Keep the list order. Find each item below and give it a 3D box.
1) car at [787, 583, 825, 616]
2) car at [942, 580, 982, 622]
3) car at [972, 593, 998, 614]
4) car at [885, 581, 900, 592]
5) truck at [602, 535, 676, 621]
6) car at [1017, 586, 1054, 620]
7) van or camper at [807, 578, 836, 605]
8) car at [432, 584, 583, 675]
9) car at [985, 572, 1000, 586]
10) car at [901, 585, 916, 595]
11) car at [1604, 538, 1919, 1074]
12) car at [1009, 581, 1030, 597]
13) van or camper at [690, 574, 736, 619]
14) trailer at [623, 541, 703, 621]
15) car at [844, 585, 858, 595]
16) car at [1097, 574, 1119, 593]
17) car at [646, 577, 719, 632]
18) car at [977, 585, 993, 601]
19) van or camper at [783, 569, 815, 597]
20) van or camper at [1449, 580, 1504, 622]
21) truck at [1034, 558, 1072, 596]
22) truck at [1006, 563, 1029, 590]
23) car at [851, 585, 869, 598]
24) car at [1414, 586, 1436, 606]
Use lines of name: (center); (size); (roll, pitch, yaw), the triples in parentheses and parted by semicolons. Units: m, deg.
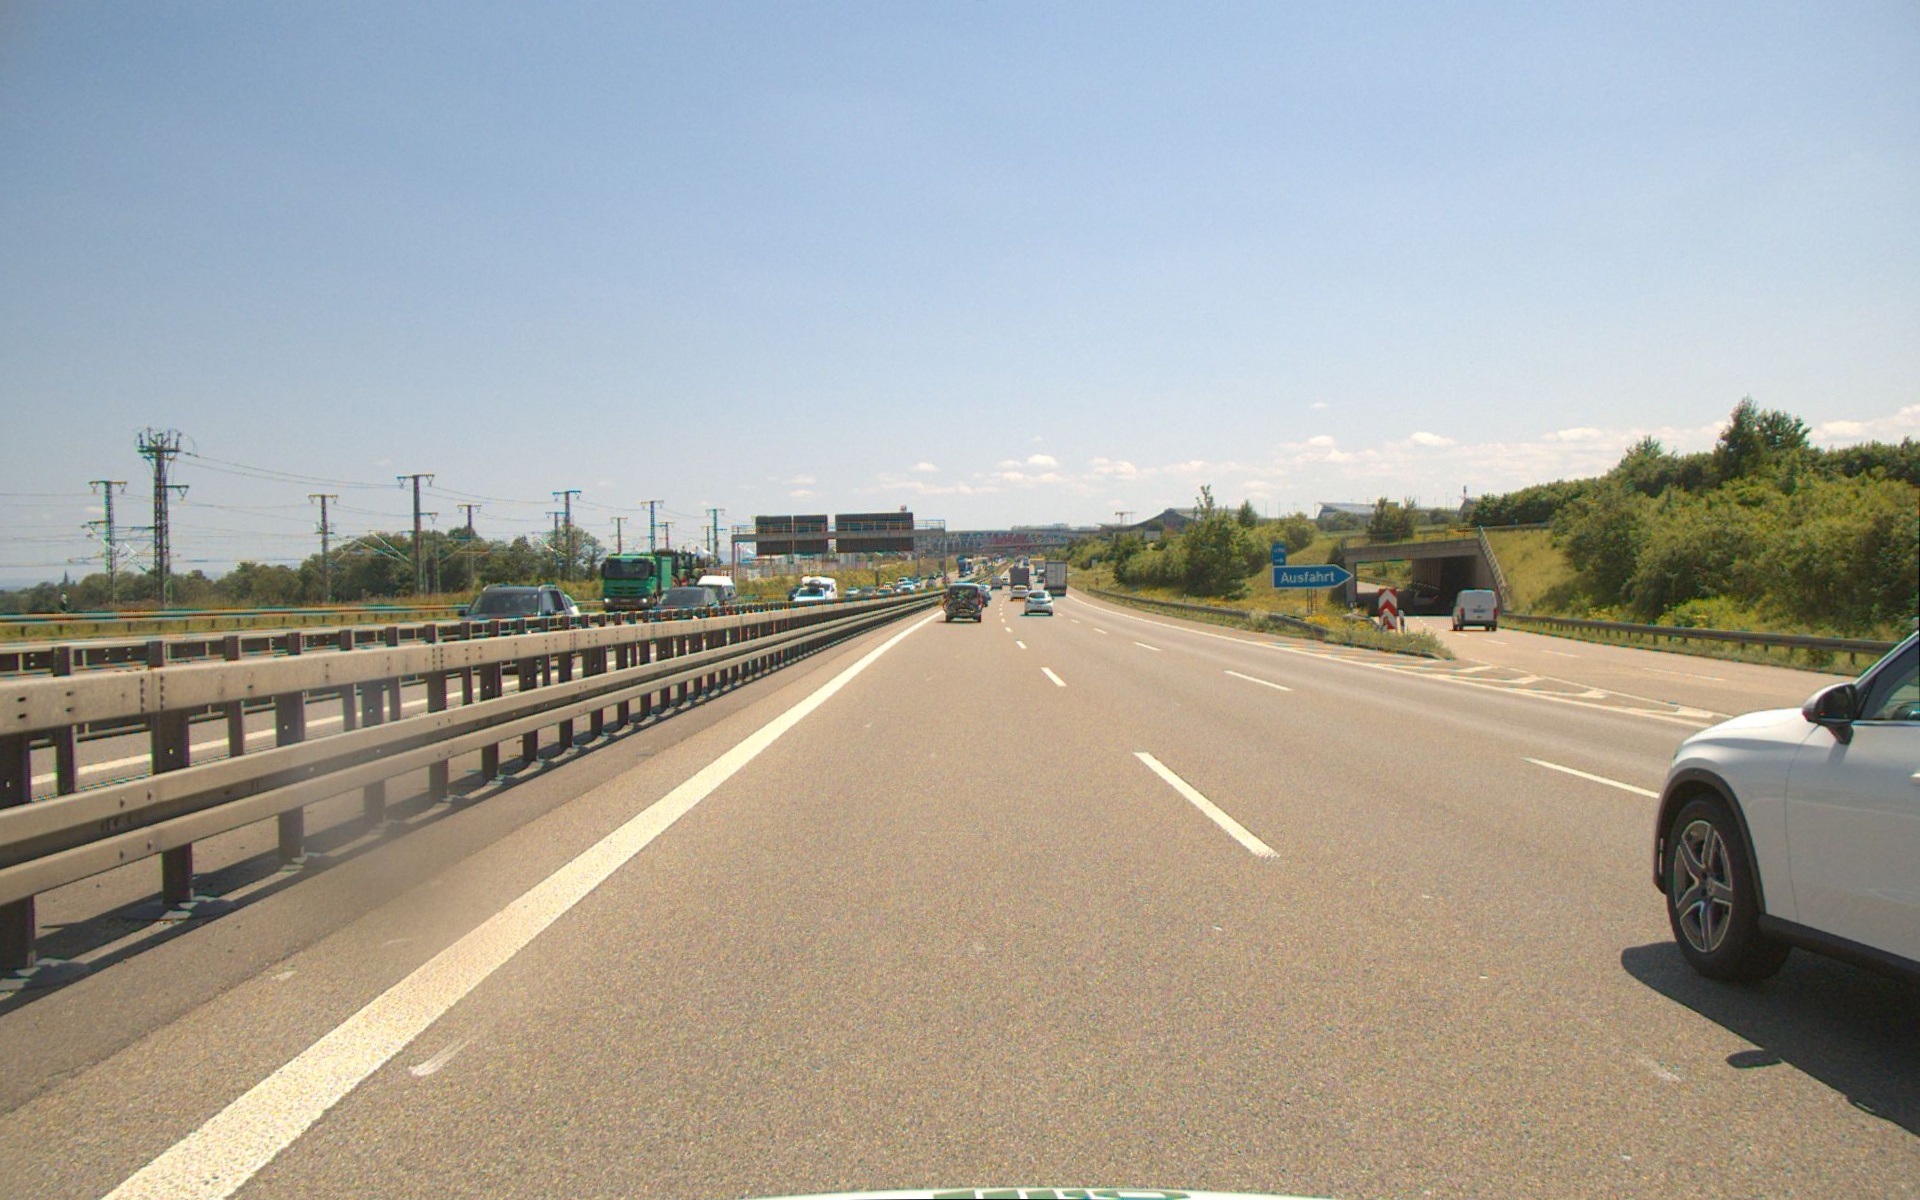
car: (-8.724, -0.036, 93.961); (1.770, 1.829, 4.839); (0, 0, -1)
car: (0.097, 0.057, 79.712); (1.887, 1.952, 4.947); (0, -1, 0)
car: (1.975, 0.303, 130.331); (1.886, 1.656, 4.519); (0, -1, 3)
car: (-8.635, -1.726, 210.546); (1.729, 1.370, 4.000); (0, 0, 0)
truck: (-16.812, -1.066, 87.024); (2.703, 4.319, 6.975); (0, -1, -2)
car: (4.485, 0.194, 98.765); (1.887, 1.952, 4.516); (0, -1, -1)
van or camper: (-11.922, -0.744, 142.770); (1.952, 2.340, 5.894); (0, 0, 0)
car: (-8.971, 0.542, 33.183); (1.720, 1.698, 4.697); (0, 0, 0)
car: (5.078, -3.303, 255.527); (2.142, 2.037, 4.001); (0, 3, -1)
car: (-7.176, -1.385, 232.232); (1.907, 1.370, 4.000); (0, 0, 0)
car: (3.930, 0.646, 5.263); (1.859, 1.676, 4.998); (0, -1, 0)
car: (5.782, -1.065, 162.105); (1.941, 1.499, 4.000); (0, 0, 0)
van or camper: (-12.821, -0.187, 86.200); (1.720, 2.260, 4.941); (0, 0, -1)
trailer: (-17.000, -0.977, 95.484); (2.703, 4.319, 11.198); (0, -1, -1)
car: (-15.332, -1.361, 233.445); (1.729, 1.370, 4.000); (0, 0, 0)
car: (15.752, -1.738, 175.936); (1.887, 1.952, 4.516); (0, -1, -1)
car: (-9.331, 0.145, 55.977); (1.720, 1.772, 4.721); (0, 0, -1)
car: (2.561, -0.688, 167.812); (1.543, 1.579, 3.965); (0, -1, 3)
van or camper: (-16.343, -1.724, 168.273); (2.465, 2.711, 8.065); (0, 0, 0)
van or camper: (25.901, 0.068, 83.041); (2.110, 2.049, 4.308); (0, -1, 10)
truck: (11.237, -2.910, 200.893); (3.956, 4.336, 11.759); (0, 2, 0)
truck: (7.390, -2.934, 212.426); (2.647, 3.163, 10.659); (0, -1, 0)
car: (-10.847, -0.959, 179.133); (1.658, 1.370, 4.000); (0, 0, 0)
car: (43.920, -0.364, 156.365); (1.951, 1.780, 4.003); (0, -1, 15)
